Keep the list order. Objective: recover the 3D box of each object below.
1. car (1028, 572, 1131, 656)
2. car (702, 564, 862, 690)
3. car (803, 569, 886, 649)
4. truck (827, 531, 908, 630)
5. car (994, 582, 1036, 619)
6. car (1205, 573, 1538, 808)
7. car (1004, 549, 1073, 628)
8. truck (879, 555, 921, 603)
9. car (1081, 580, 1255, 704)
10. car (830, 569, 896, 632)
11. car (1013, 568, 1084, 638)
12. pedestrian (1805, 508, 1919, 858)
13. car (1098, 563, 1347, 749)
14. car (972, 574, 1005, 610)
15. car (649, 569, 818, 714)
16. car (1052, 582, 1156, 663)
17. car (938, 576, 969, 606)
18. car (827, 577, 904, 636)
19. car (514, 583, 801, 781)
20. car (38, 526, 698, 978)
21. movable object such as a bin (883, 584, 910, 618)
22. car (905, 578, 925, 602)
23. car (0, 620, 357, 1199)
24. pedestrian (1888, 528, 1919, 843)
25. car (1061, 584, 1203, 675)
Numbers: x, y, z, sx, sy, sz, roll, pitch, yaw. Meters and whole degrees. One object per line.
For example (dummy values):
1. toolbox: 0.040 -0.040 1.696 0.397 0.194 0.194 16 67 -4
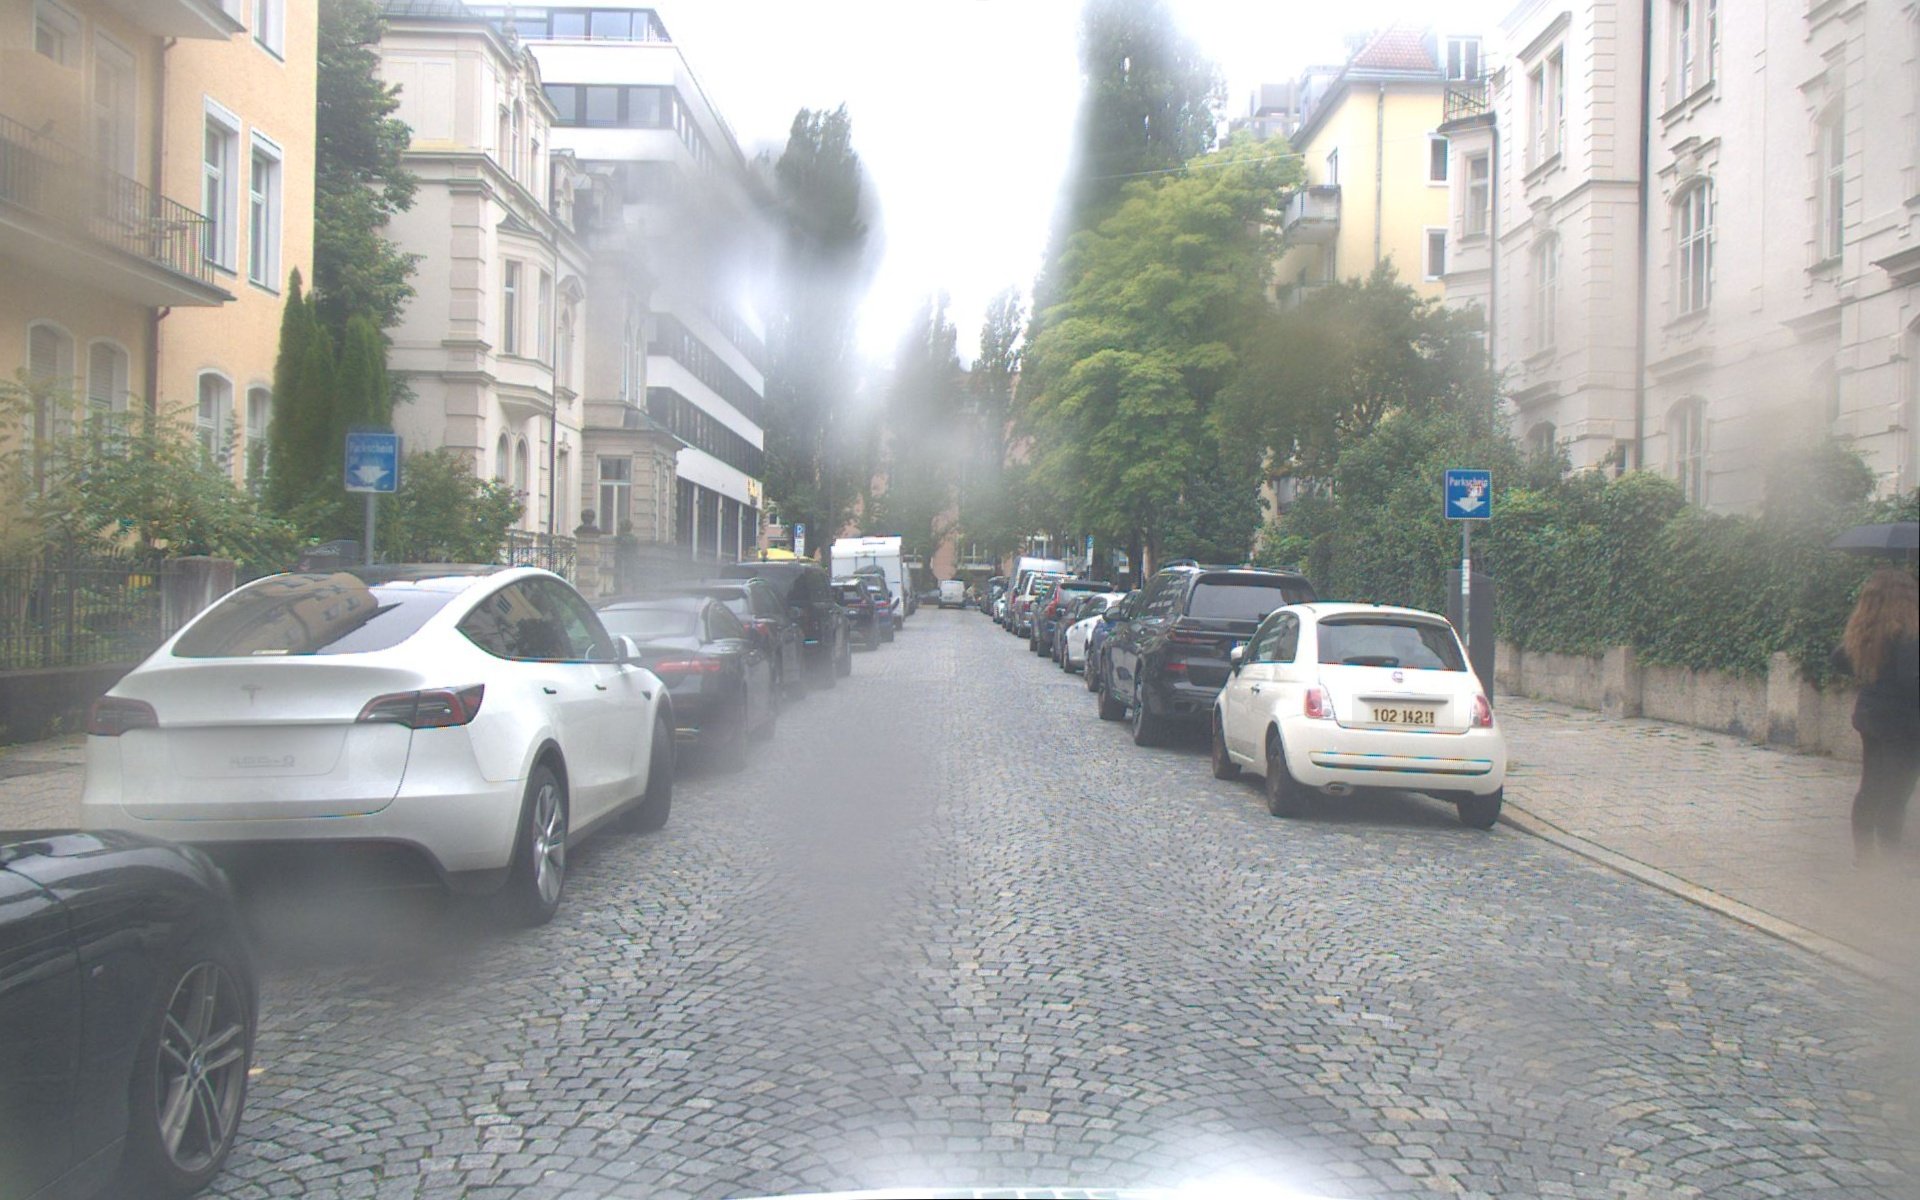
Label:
1. car: 2.708 0.297 38.538 1.923 1.789 4.953 1 0 -1
2. car: -2.688 0.347 26.048 1.942 1.768 4.723 1 1 0
3. car: -2.684 0.195 39.189 1.738 1.747 4.390 1 0 -1
4. truck: -3.046 -0.665 55.758 2.457 3.084 6.383 -1 1 -2
5. car: 2.311 0.025 69.644 1.567 1.512 3.478 1 0 -1
6. car: 3.033 0.603 12.910 1.597 1.495 3.658 3 0 -1
7. car: 2.655 -0.424 57.152 1.857 2.468 5.610 4 1 -1
8. truck: -3.047 -1.041 84.565 1.953 2.387 4.067 1 0 -1
9. car: 2.852 0.542 23.497 1.675 1.508 4.247 3 0 -3
10. car: -2.872 -0.004 49.710 1.856 1.781 4.166 0 1 -2
11. car: 2.695 0.087 51.363 1.764 1.983 4.859 3 0 -1
12. pedestrian: 5.229 0.443 9.286 0.565 1.882 0.680 0 0 -11
13. car: 2.674 0.519 18.156 1.836 1.702 5.490 1 0 0
14. car: 1.665 -0.468 96.292 1.829 1.995 4.000 1 0 1
15. car: -2.762 0.479 20.912 1.547 1.618 4.056 -1 0 0
16. car: 2.878 0.430 33.837 1.649 1.478 3.965 2 0 -1
17. car: -0.429 -0.586 109.799 1.955 1.970 4.000 1 0 1
18. car: -2.497 0.174 44.535 1.901 1.484 4.057 1 0 -2
19. car: -2.484 0.616 14.634 1.737 1.454 4.390 1 0 0
20. car: -2.586 0.574 8.455 1.737 1.676 4.391 1 0 0
21. movable object such as a bin: -2.662 0.025 69.450 1.042 1.387 1.289 1 0 -1
22. car: -3.010 -0.661 110.533 1.250 1.568 3.118 1 0 -1
23. car: -2.596 0.796 2.680 1.738 1.383 4.389 -3 0 -3
24. pedestrian: 5.947 0.502 9.670 0.619 1.840 0.655 1 0 -23
25. car: 2.929 0.477 29.015 1.739 1.454 4.387 1 0 -4
